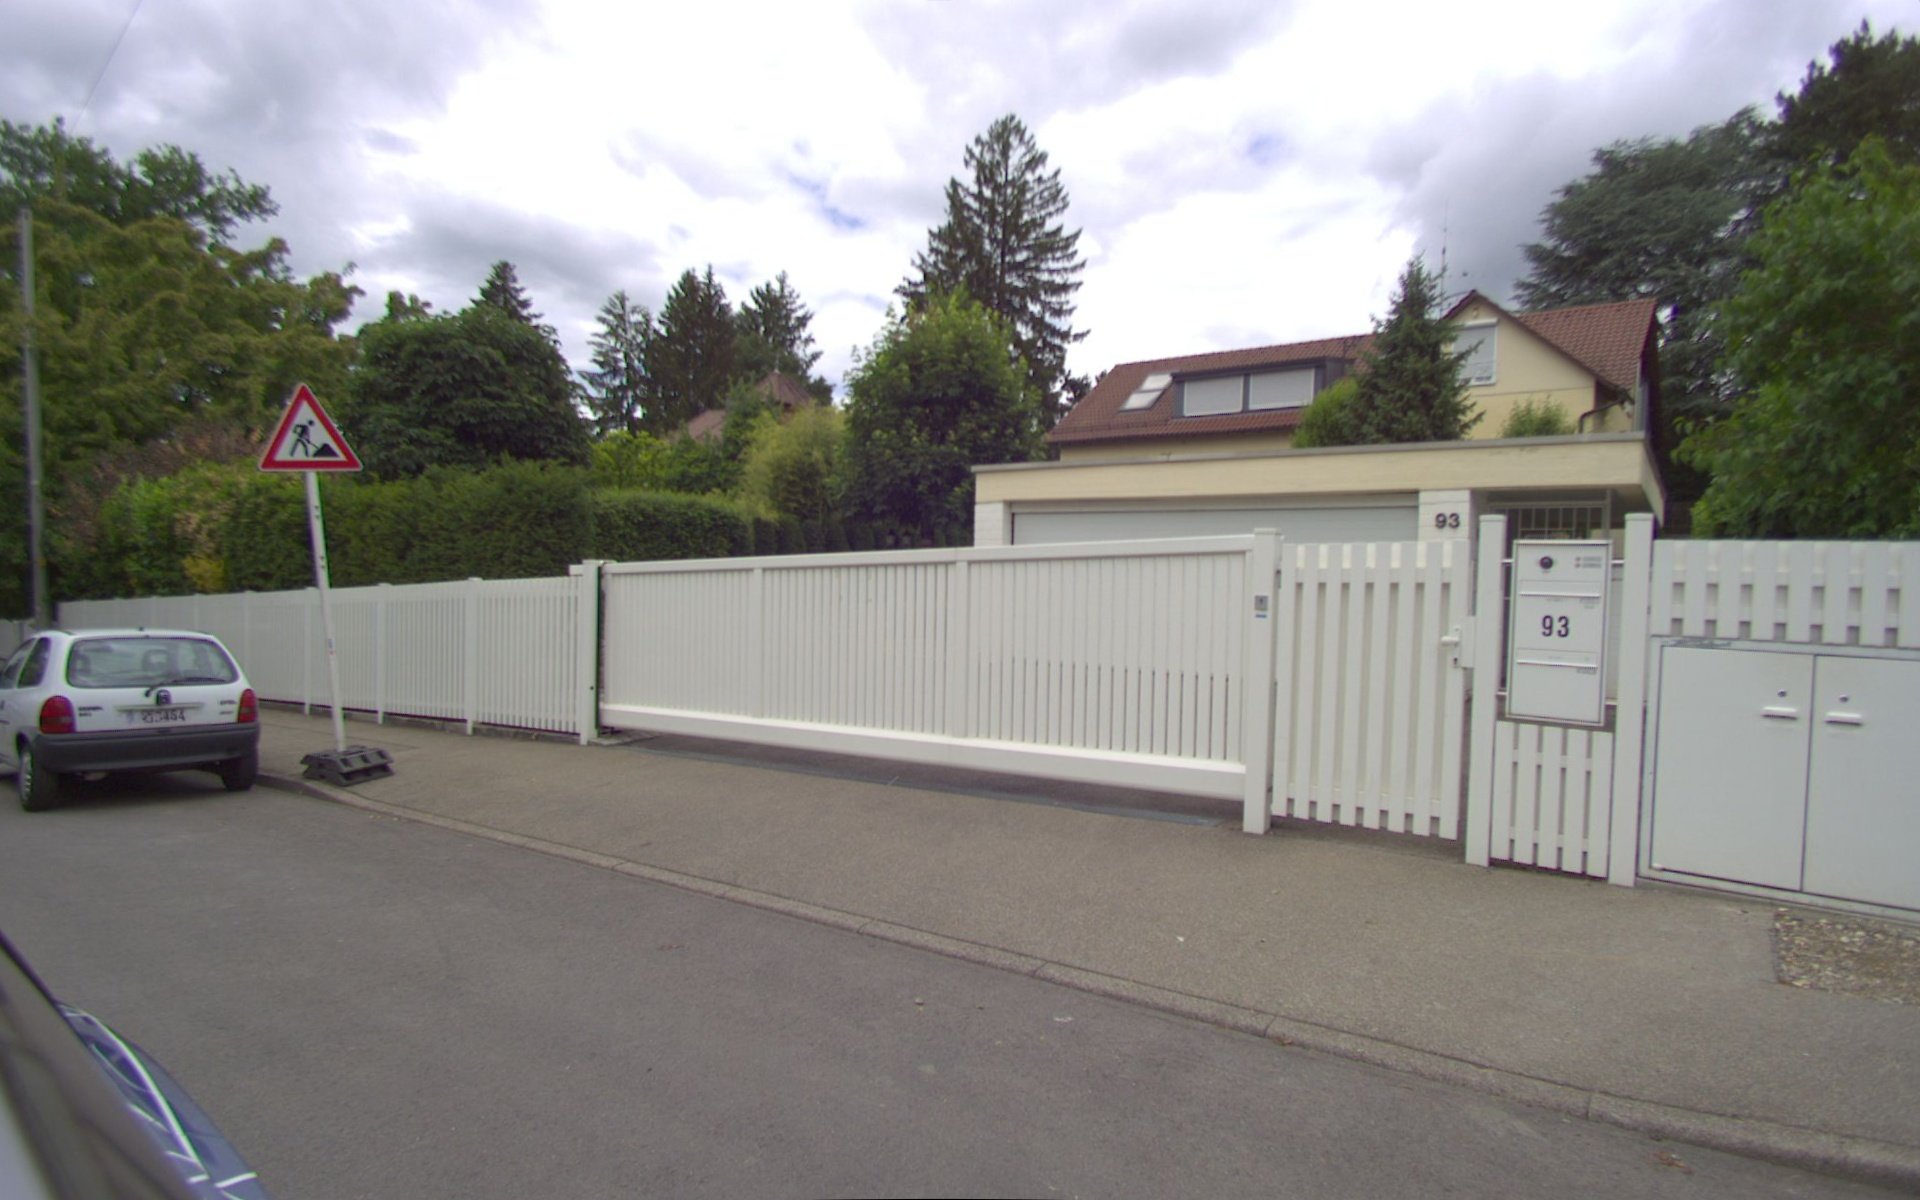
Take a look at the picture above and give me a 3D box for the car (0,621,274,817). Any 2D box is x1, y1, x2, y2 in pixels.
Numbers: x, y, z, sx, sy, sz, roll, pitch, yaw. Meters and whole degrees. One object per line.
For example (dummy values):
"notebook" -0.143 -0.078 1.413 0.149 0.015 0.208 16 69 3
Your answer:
"car" -8.009 0.931 9.347 3.994 1.444 1.581 -1 -2 38
